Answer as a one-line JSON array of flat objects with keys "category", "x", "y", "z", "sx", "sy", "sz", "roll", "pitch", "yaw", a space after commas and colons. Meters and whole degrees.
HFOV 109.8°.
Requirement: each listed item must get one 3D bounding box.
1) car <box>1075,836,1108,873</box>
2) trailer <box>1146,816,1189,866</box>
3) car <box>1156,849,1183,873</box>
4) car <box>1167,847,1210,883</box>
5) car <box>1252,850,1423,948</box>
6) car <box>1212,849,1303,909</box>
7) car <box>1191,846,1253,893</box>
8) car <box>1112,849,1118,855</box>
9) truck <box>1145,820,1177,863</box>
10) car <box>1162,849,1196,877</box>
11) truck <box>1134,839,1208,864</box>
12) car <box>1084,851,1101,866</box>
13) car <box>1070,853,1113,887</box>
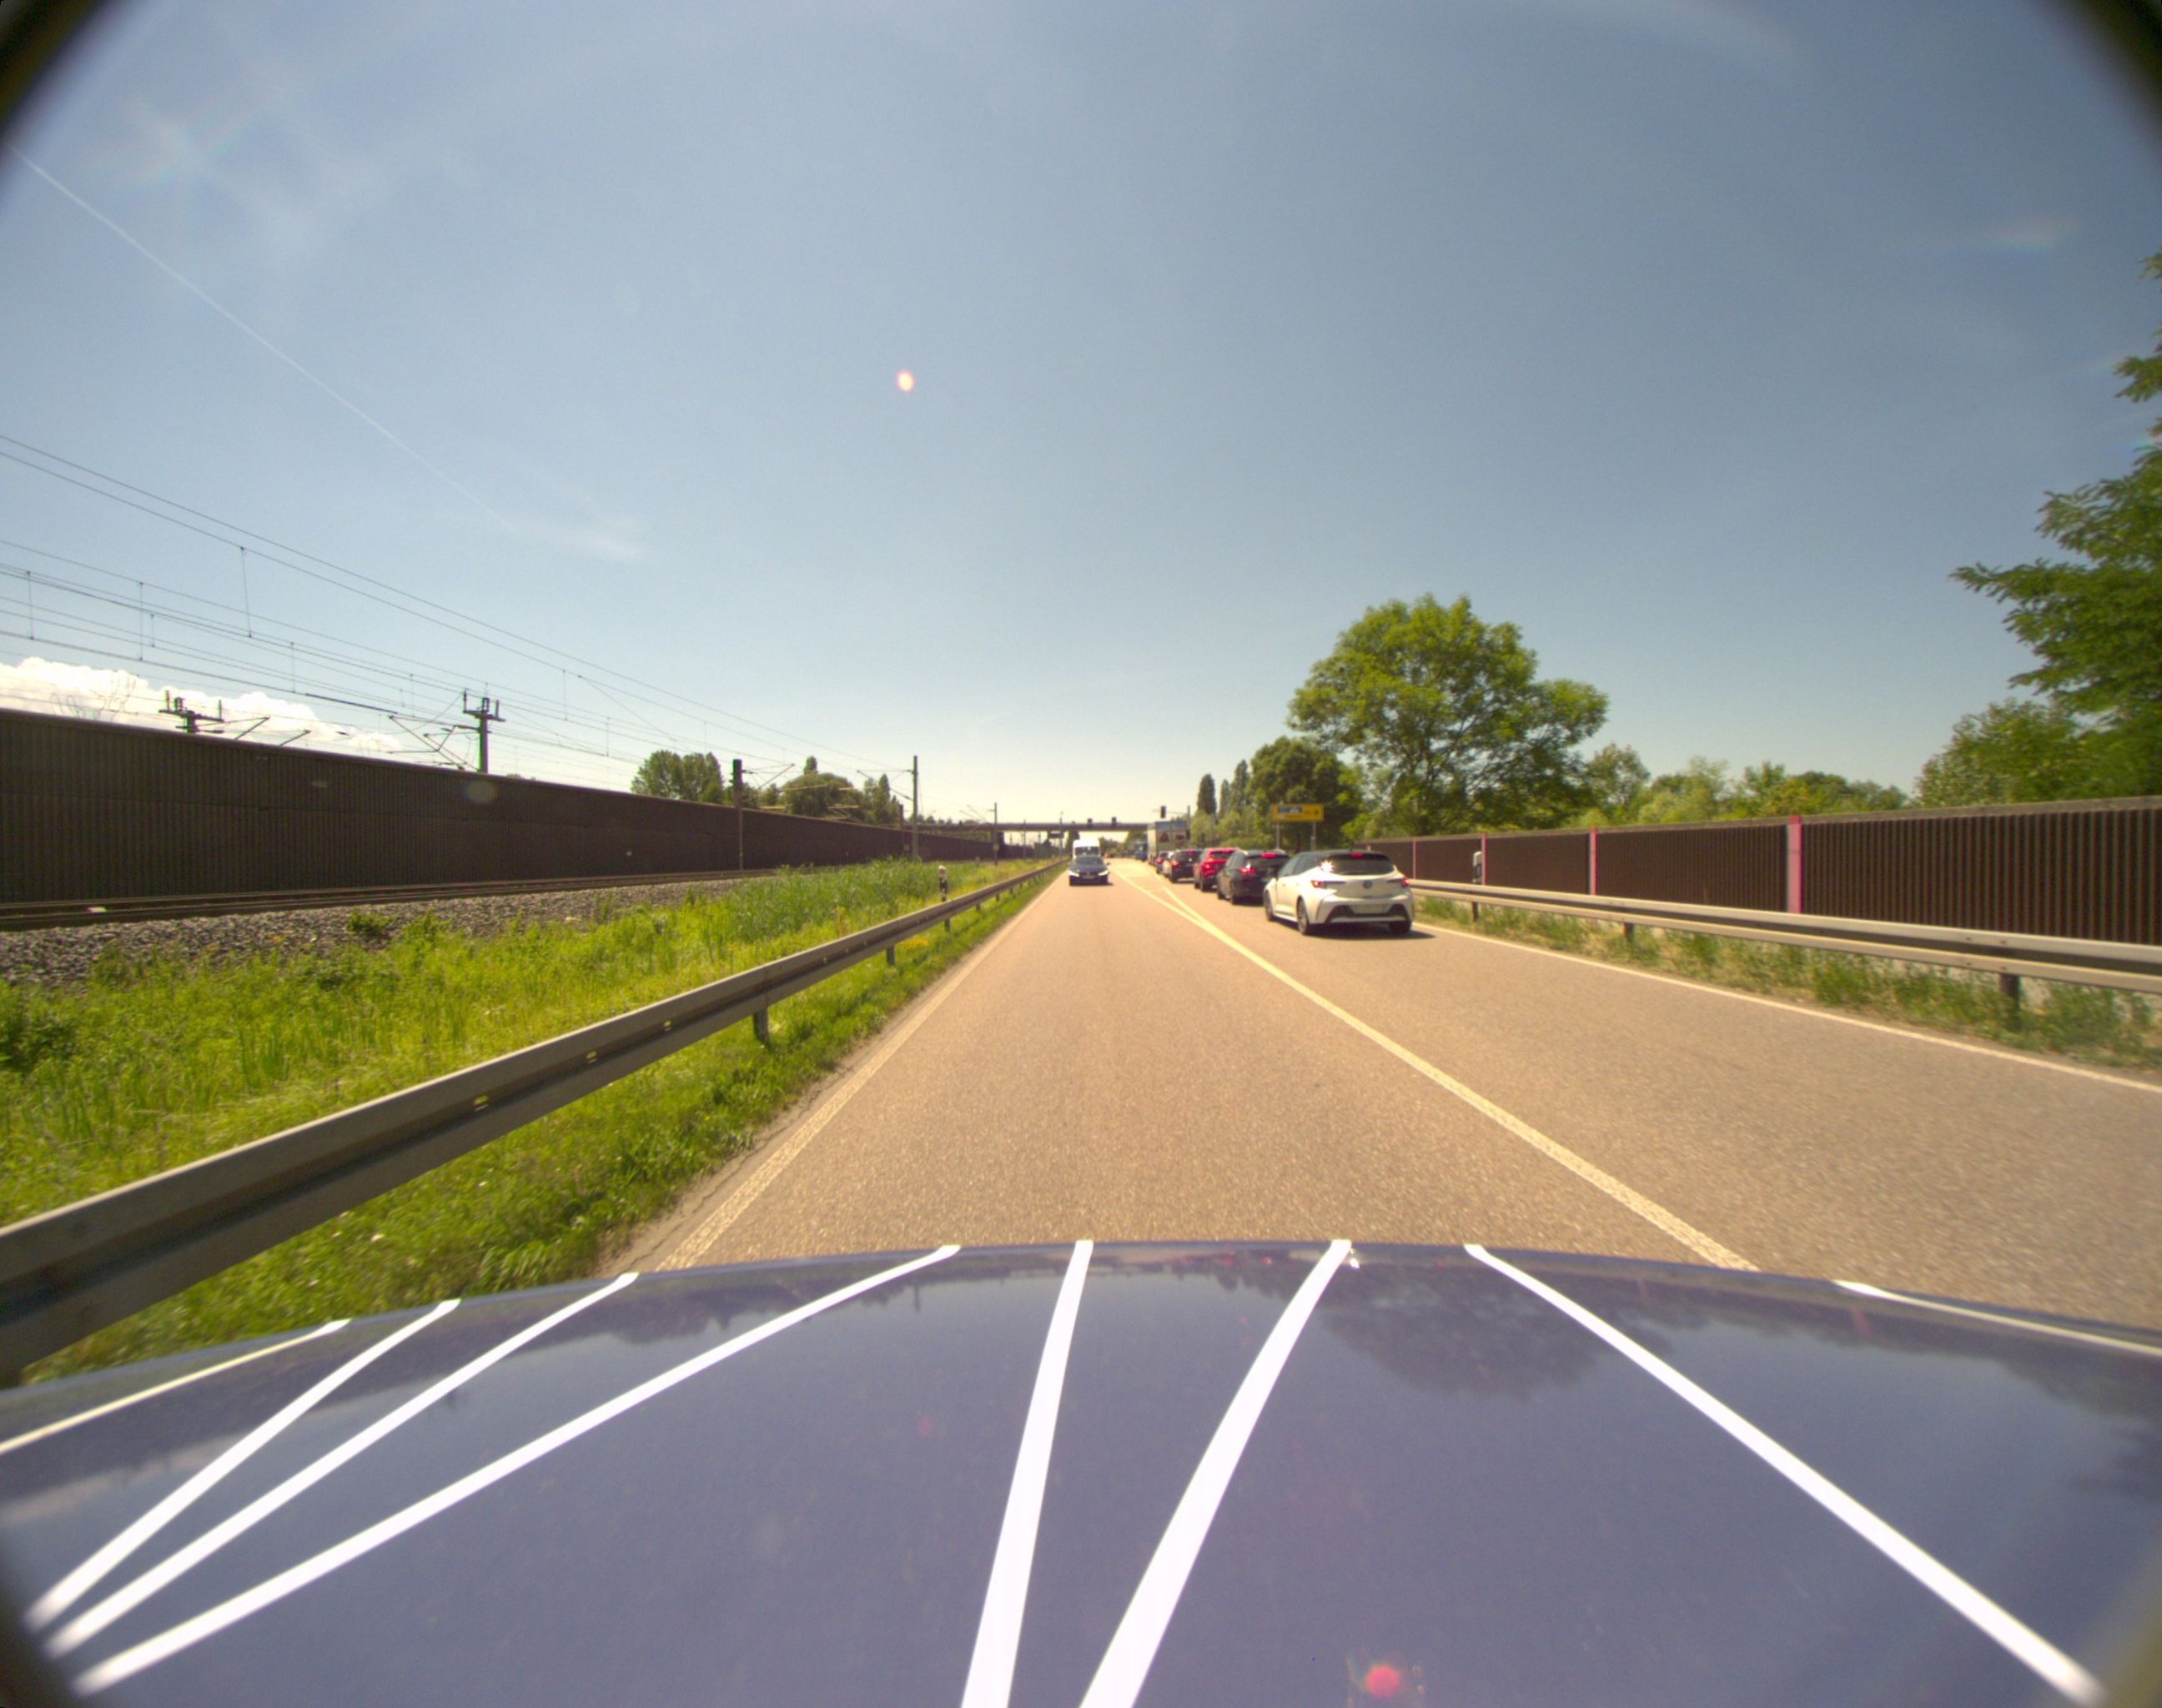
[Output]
[{"category": "car", "x": 0.814, "y": 0.031, "z": 54.918, "sx": 2.227, "sy": 2.480, "sz": 5.983, "roll": -1, "pitch": 0, "yaw": 2}, {"category": "trailer", "x": 7.815, "y": -1.165, "z": 70.242, "sx": 2.696, "sy": 4.021, "sz": 14.124, "roll": -2, "pitch": 1, "yaw": 2}, {"category": "car", "x": 5.901, "y": 0.422, "z": 51.006, "sx": 1.627, "sy": 1.529, "sz": 4.385, "roll": 0, "pitch": 0, "yaw": 5}, {"category": "car", "x": 5.158, "y": 0.485, "z": 36.919, "sx": 1.720, "sy": 1.580, "sz": 4.535, "roll": -2, "pitch": 0, "yaw": 4}, {"category": "car", "x": 4.526, "y": 0.687, "z": 14.156, "sx": 1.689, "sy": 1.451, "sz": 4.616, "roll": -2, "pitch": 0, "yaw": 2}, {"category": "car", "x": 4.858, "y": 0.627, "z": 21.547, "sx": 1.689, "sy": 1.451, "sz": 4.616, "roll": -2, "pitch": 0, "yaw": 3}, {"category": "car", "x": 5.248, "y": 0.536, "z": 28.693, "sx": 1.759, "sy": 1.622, "sz": 4.280, "roll": -2, "pitch": 0, "yaw": 4}, {"category": "car", "x": 10.466, "y": -0.683, "z": 231.380, "sx": 1.599, "sy": 1.635, "sz": 3.878, "roll": -1, "pitch": 0, "yaw": 1}, {"category": "truck", "x": 8.057, "y": -1.254, "z": 77.107, "sx": 2.696, "sy": 4.022, "sz": 5.825, "roll": -2, "pitch": 1, "yaw": 2}, {"category": "car", "x": 5.572, "y": 0.468, "z": 43.736, "sx": 1.657, "sy": 1.470, "sz": 4.631, "roll": -2, "pitch": 0, "yaw": 4}, {"category": "truck", "x": 11.557, "y": -0.363, "z": 97.296, "sx": 9.186, "sy": 3.177, "sz": 2.690, "roll": -1, "pitch": 1, "yaw": -21}, {"category": "car", "x": 1.127, "y": 0.420, "z": 76.210, "sx": 1.720, "sy": 1.427, "sz": 3.959, "roll": 0, "pitch": 1, "yaw": 0}, {"category": "car", "x": 0.512, "y": 0.714, "z": 35.766, "sx": 1.847, "sy": 1.415, "sz": 4.562, "roll": -2, "pitch": 1, "yaw": 2}]
